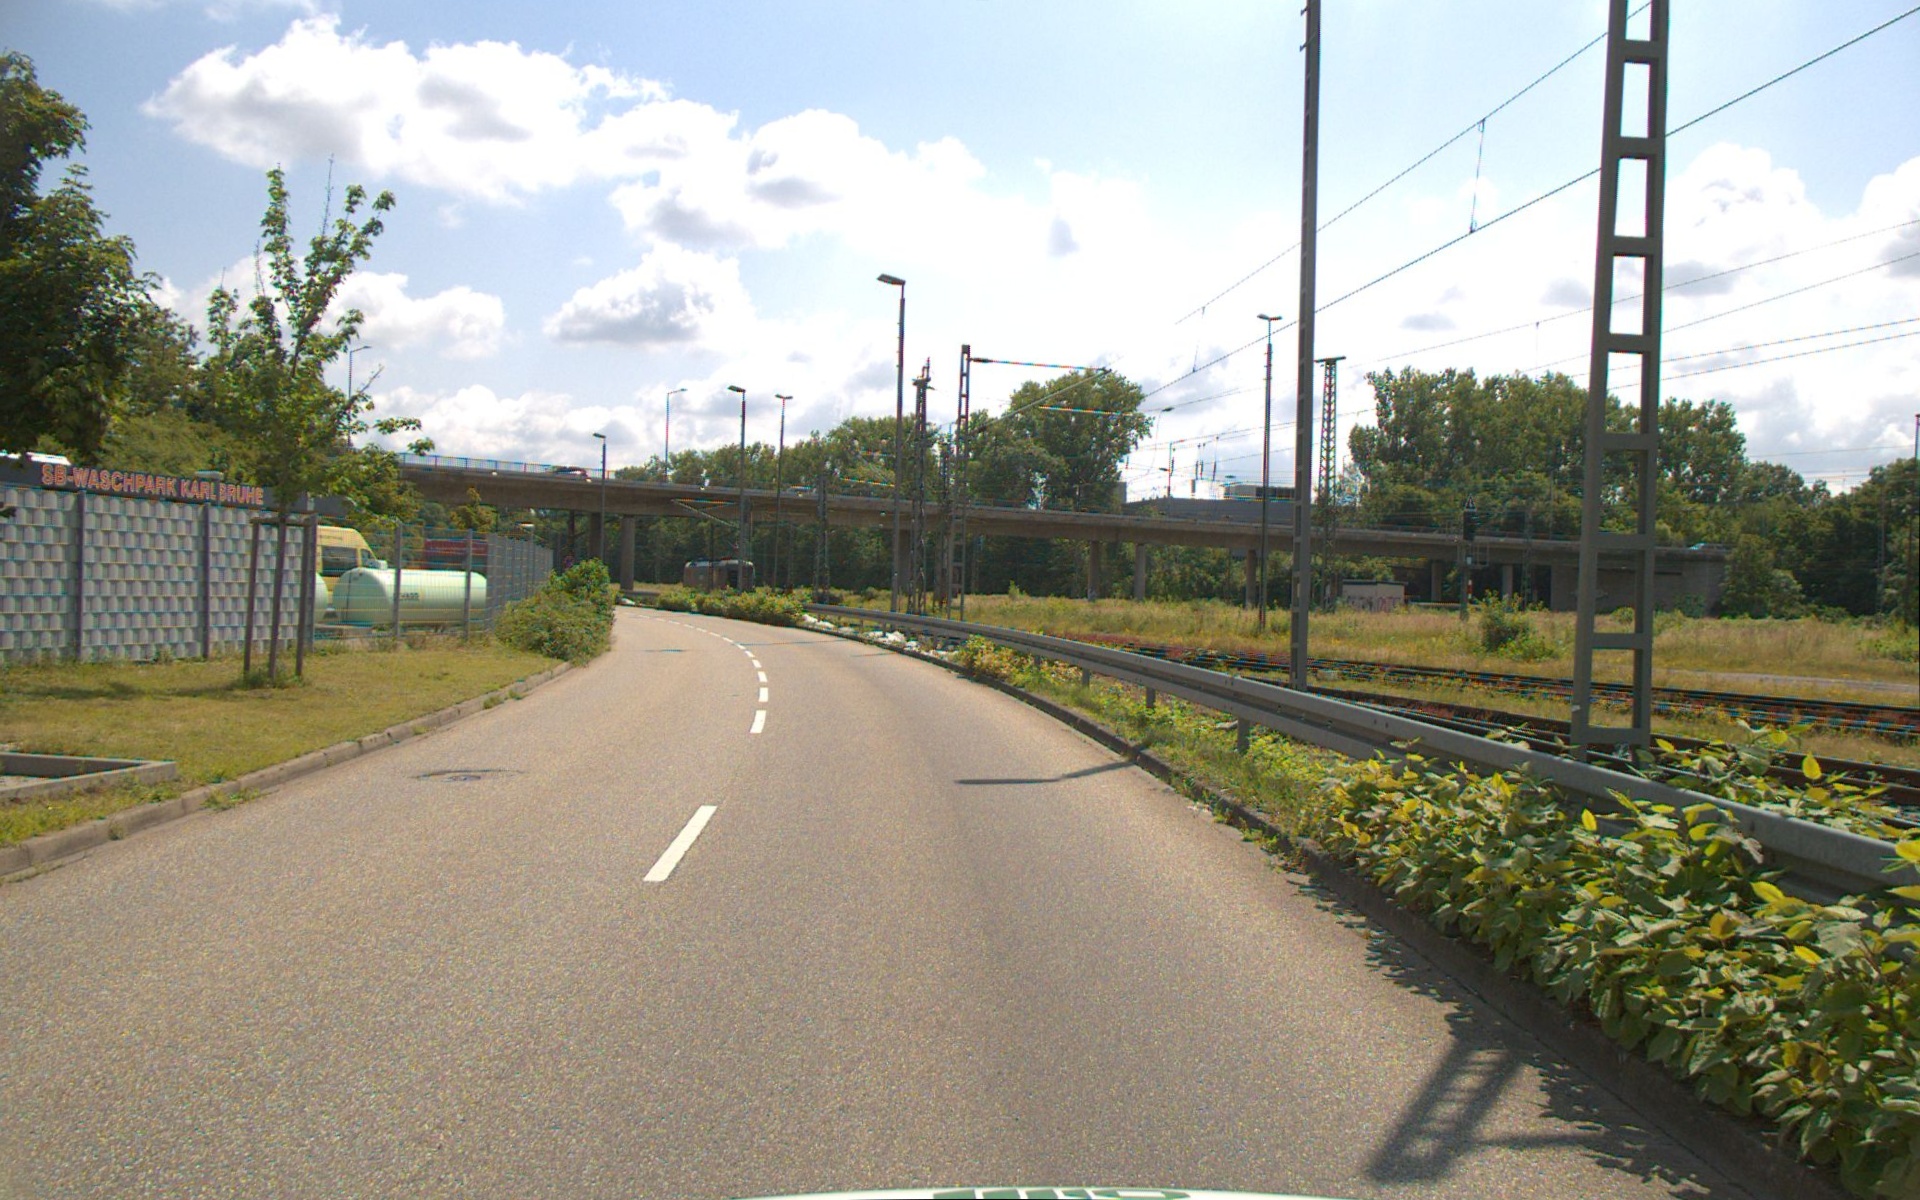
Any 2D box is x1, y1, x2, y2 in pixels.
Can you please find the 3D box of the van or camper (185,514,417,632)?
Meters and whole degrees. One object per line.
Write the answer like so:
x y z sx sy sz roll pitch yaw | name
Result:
-14.836 -0.562 37.705 2.194 2.468 5.664 1 0 10 | van or camper

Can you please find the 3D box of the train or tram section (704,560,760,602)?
-20.370 -1.660 147.389 2.851 3.570 8.506 1 0 -23 | train or tram section

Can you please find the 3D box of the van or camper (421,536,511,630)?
-14.415 -0.521 48.538 2.151 2.558 5.683 -1 1 -13 | van or camper
